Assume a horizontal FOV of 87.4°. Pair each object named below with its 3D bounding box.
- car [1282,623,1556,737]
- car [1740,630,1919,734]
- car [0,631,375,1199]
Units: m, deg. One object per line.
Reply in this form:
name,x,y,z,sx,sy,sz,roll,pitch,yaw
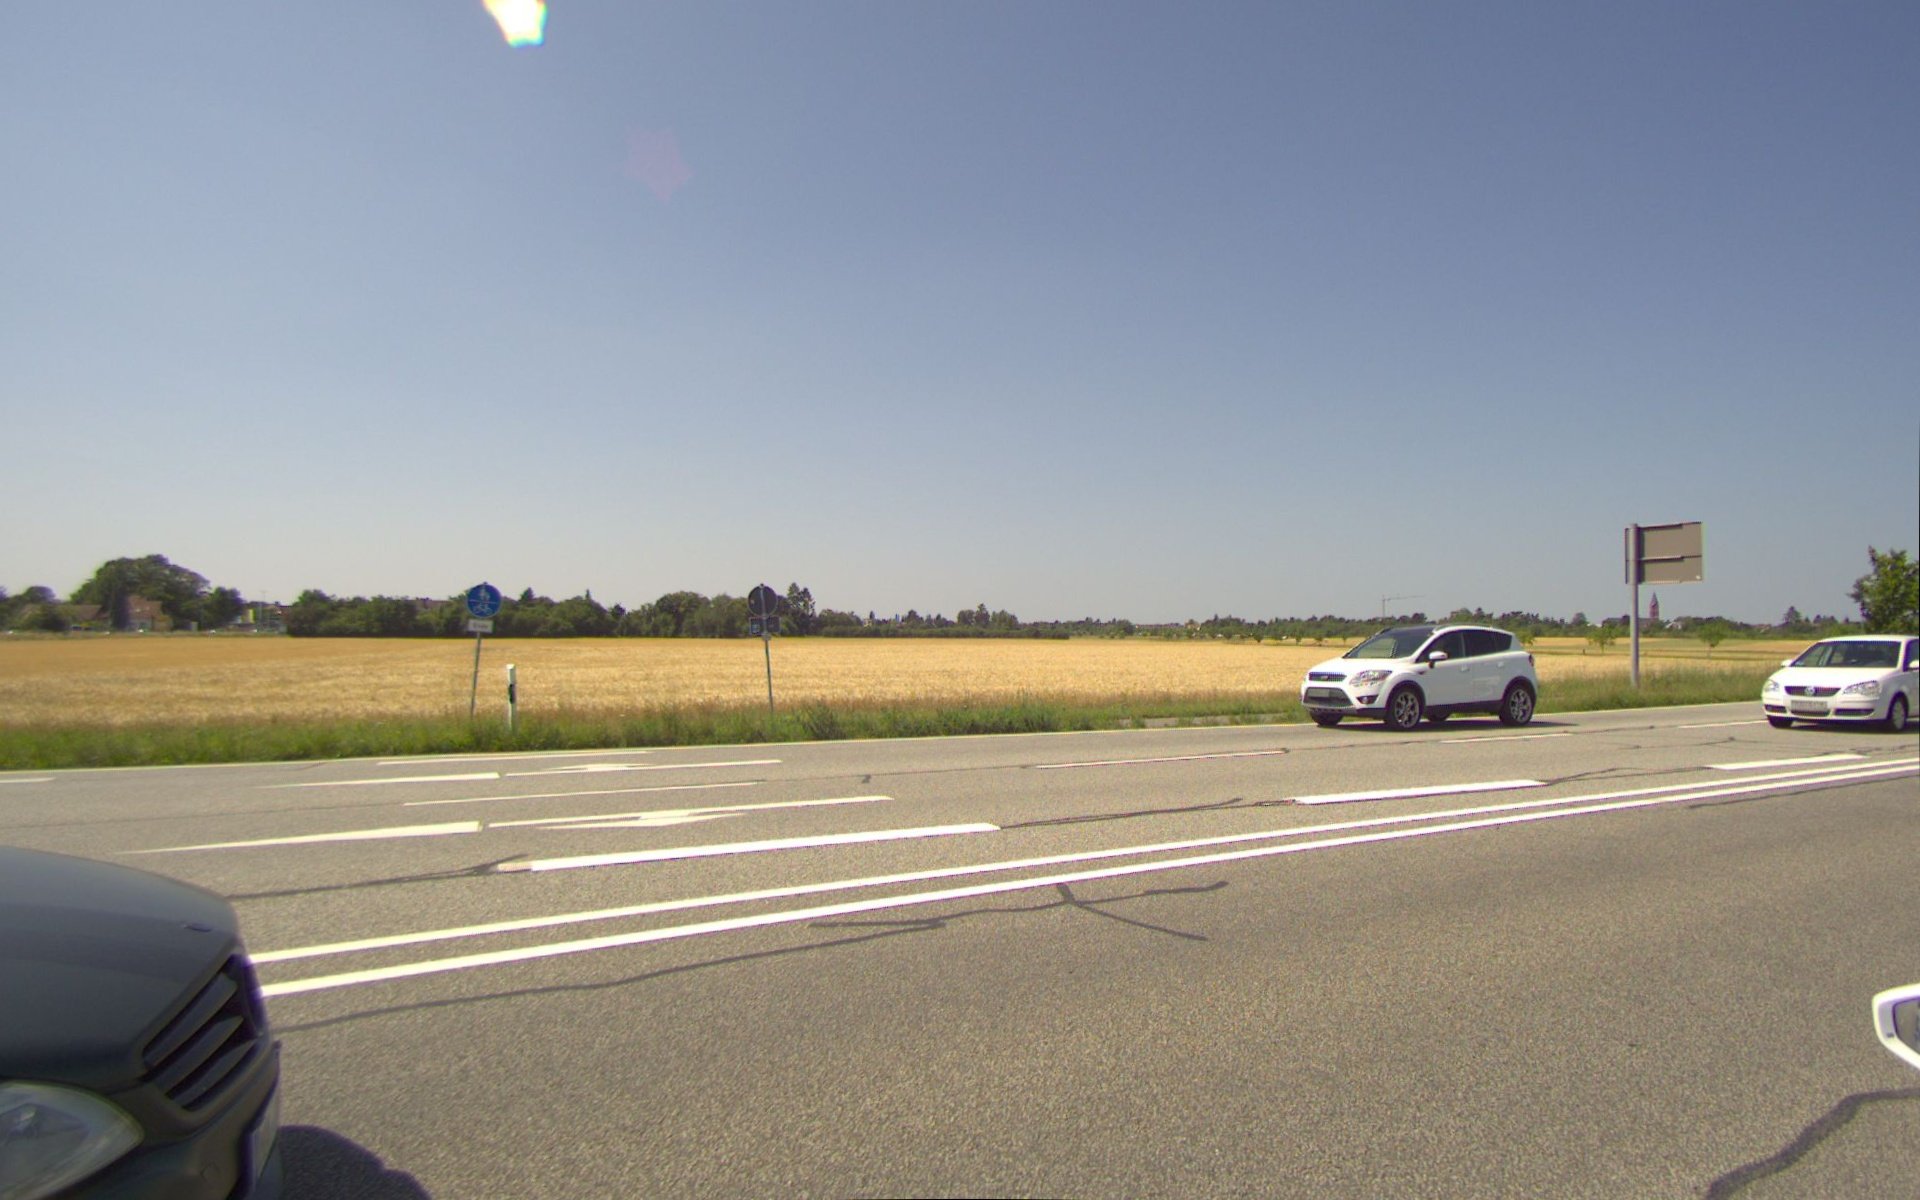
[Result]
car,7.688,1.269,16.798,4.401,1.698,1.661,1,-3,-25
car,14.670,1.253,16.332,4.033,1.461,1.741,0,-3,-30
car,-3.406,0.783,1.014,4.820,1.469,1.802,1,-1,-30
